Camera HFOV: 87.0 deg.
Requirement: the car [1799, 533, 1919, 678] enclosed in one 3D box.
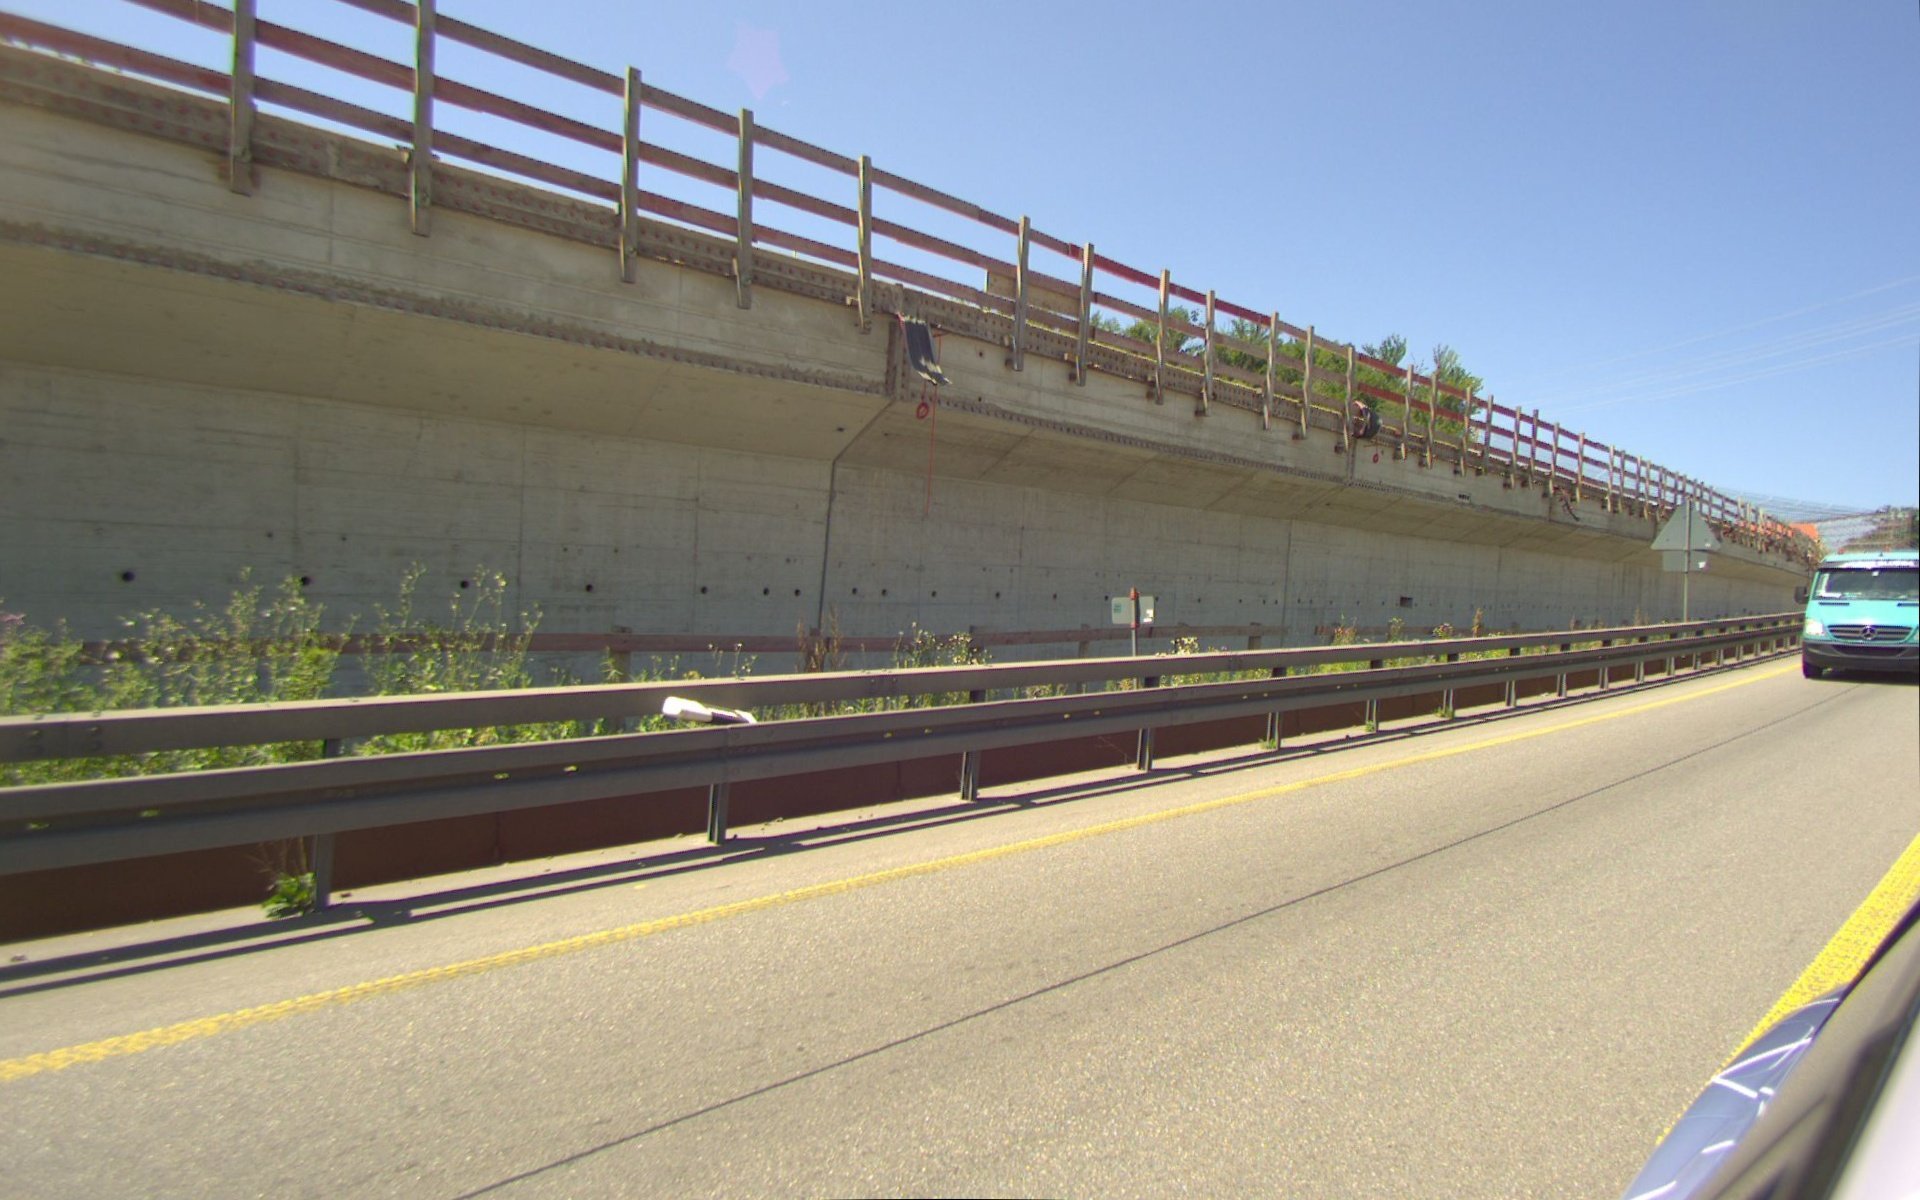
[{"bbox_3d":[17.765,0.002,19.004,6.786,2.354,2.214,-2,2,-43],"label":"car"}]
